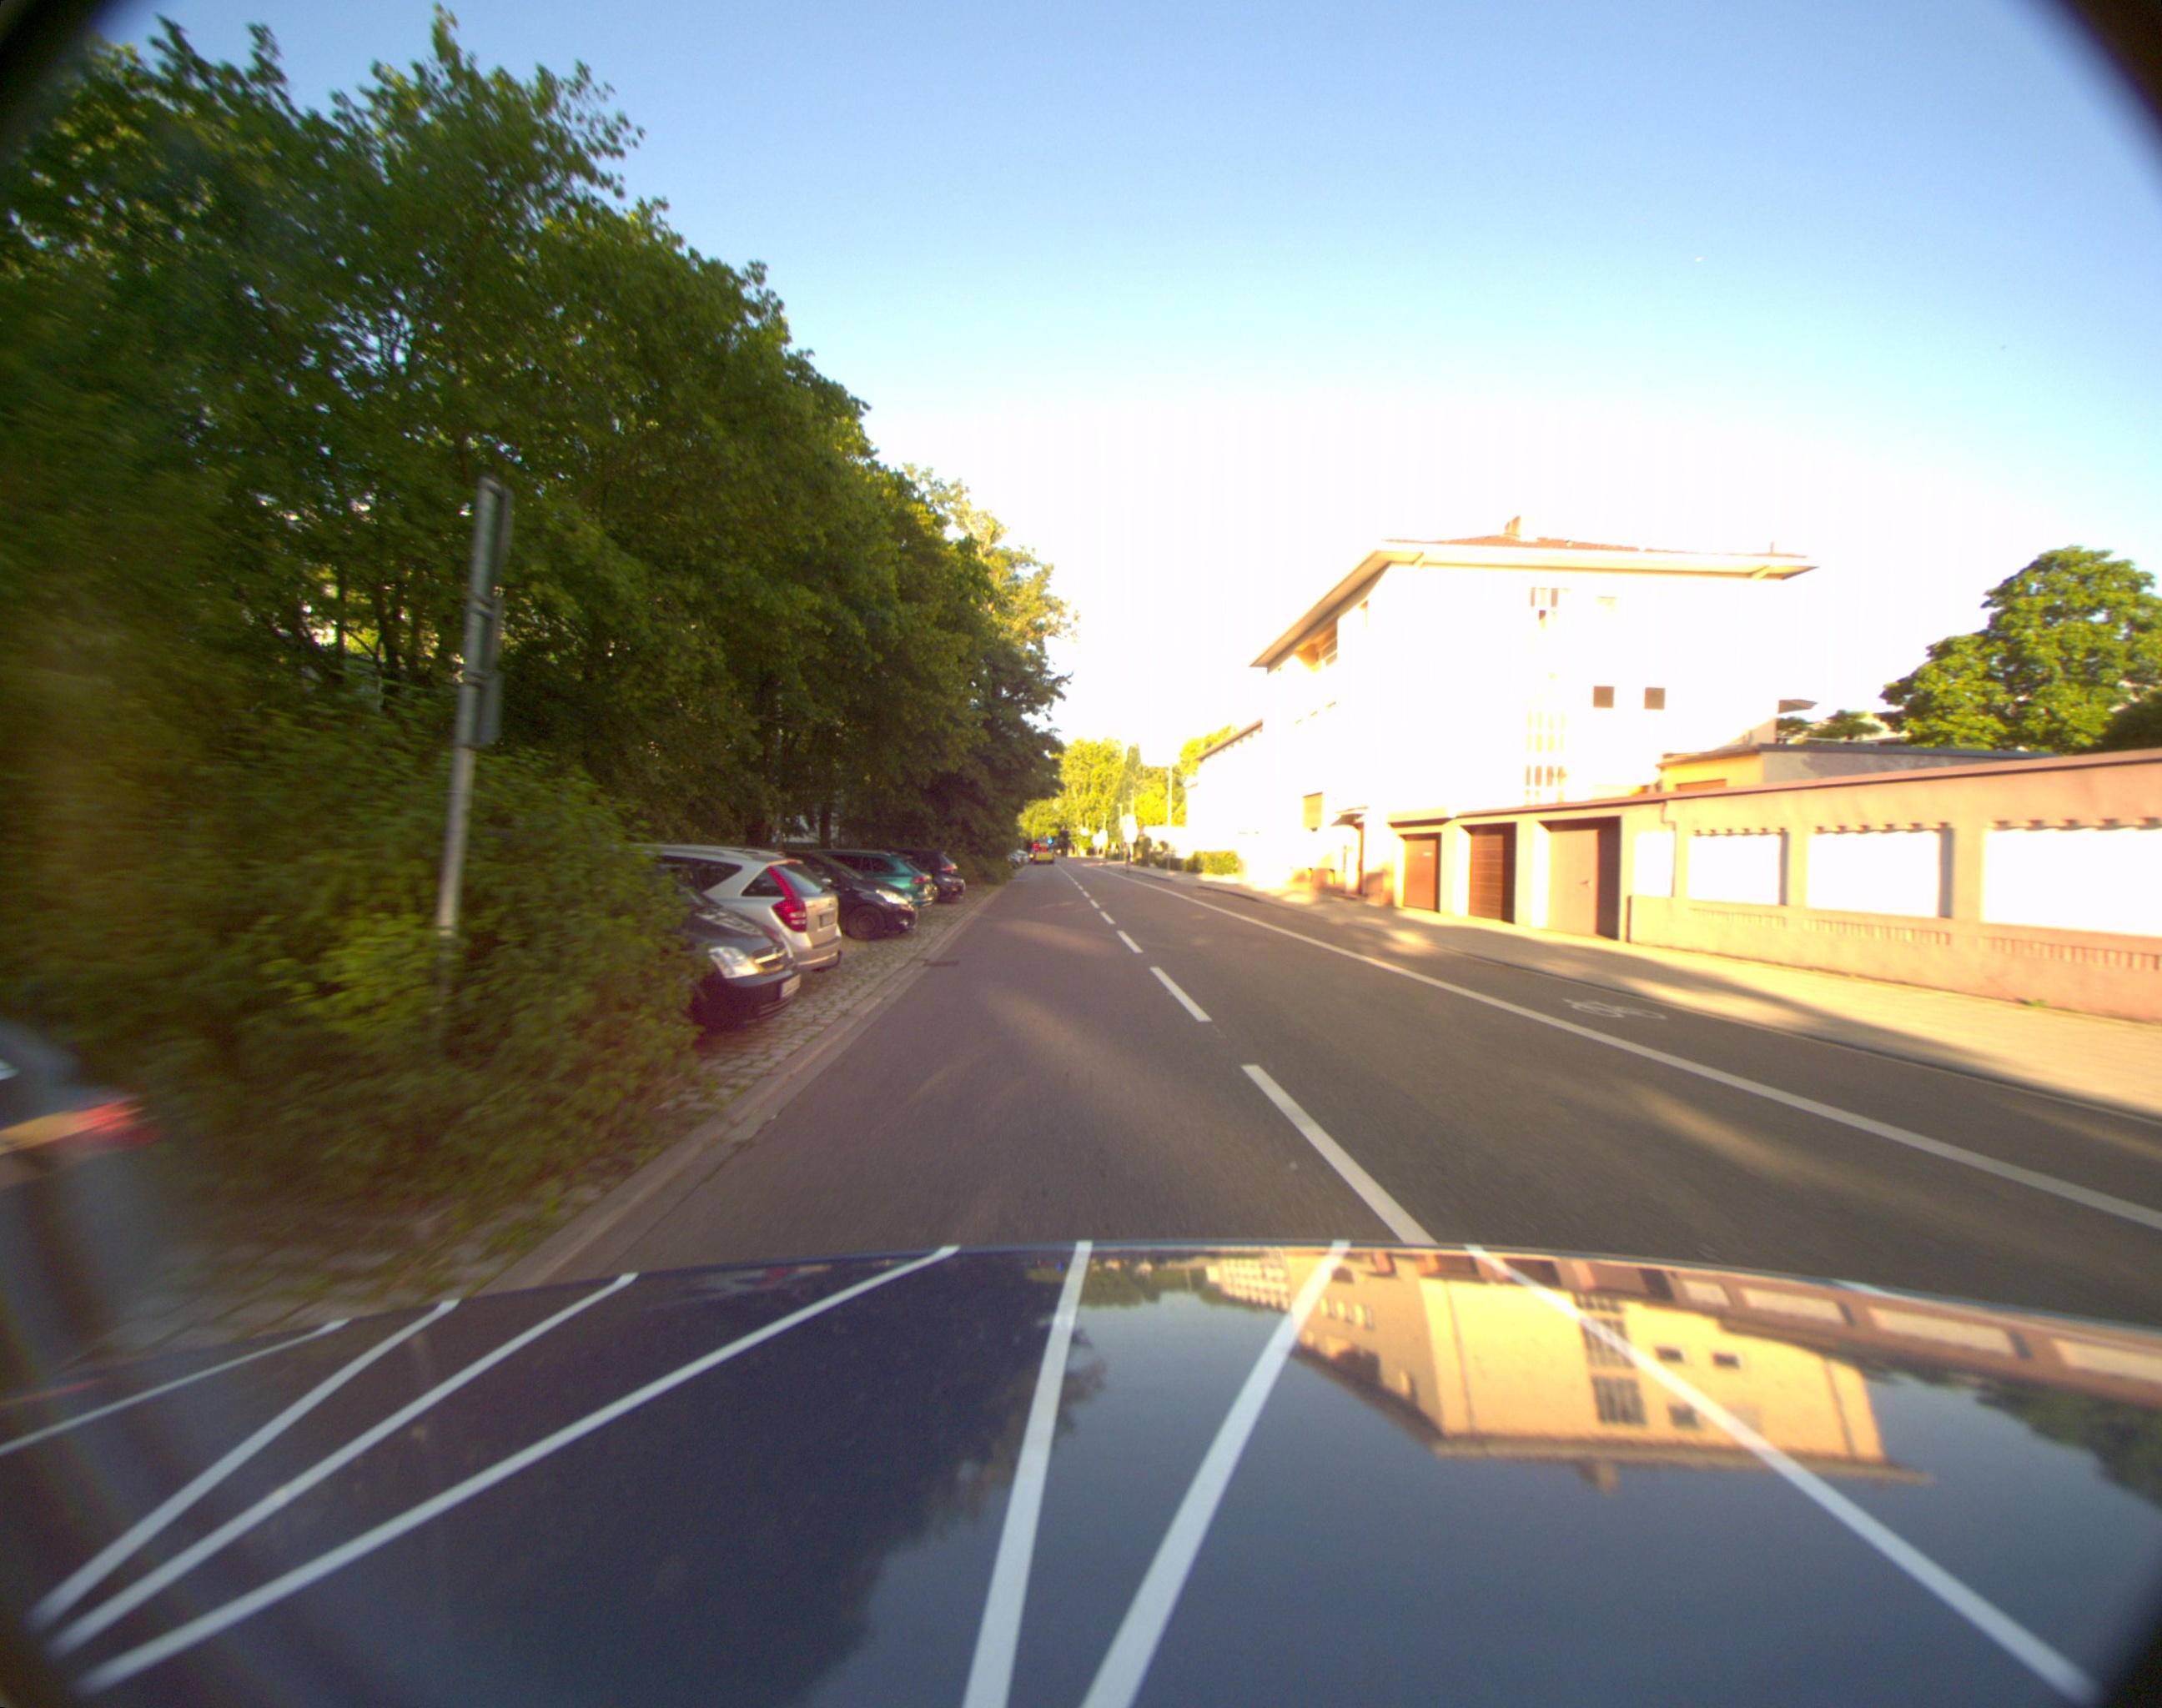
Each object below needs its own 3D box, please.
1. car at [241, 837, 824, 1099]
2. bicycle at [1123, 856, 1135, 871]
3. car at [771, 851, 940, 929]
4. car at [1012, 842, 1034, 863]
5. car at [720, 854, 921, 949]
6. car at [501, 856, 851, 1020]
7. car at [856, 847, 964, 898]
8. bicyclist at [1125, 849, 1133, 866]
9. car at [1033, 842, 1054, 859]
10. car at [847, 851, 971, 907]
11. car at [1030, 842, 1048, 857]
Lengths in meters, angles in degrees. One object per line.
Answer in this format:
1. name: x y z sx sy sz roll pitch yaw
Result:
1. car: -3.916 0.763 5.893 3.264 1.714 1.679 1 1 -2
2. bicycle: 3.522 0.714 55.767 0.576 1.056 1.849 1 1 -4
3. car: -4.676 0.728 16.034 3.118 1.520 1.529 1 1 -2
4. car: -5.941 -0.172 78.193 1.999 2.002 3.999 1 1 0
5. car: -4.463 0.796 13.418 3.120 1.519 1.620 1 1 -10
6. car: -4.158 0.808 8.137 2.867 1.520 1.622 1 1 1
7. car: -5.367 0.564 24.071 2.984 1.519 1.530 1 1 6
8. bicyclist: 3.534 0.236 55.651 0.479 1.258 0.567 1 1 -3
9. car: -4.525 -0.468 92.583 2.229 2.002 4.889 1 1 0
10. car: -4.752 0.670 21.258 3.118 1.452 1.529 1 1 -1
11. car: -6.066 -0.672 109.871 2.229 2.002 4.889 1 1 0
